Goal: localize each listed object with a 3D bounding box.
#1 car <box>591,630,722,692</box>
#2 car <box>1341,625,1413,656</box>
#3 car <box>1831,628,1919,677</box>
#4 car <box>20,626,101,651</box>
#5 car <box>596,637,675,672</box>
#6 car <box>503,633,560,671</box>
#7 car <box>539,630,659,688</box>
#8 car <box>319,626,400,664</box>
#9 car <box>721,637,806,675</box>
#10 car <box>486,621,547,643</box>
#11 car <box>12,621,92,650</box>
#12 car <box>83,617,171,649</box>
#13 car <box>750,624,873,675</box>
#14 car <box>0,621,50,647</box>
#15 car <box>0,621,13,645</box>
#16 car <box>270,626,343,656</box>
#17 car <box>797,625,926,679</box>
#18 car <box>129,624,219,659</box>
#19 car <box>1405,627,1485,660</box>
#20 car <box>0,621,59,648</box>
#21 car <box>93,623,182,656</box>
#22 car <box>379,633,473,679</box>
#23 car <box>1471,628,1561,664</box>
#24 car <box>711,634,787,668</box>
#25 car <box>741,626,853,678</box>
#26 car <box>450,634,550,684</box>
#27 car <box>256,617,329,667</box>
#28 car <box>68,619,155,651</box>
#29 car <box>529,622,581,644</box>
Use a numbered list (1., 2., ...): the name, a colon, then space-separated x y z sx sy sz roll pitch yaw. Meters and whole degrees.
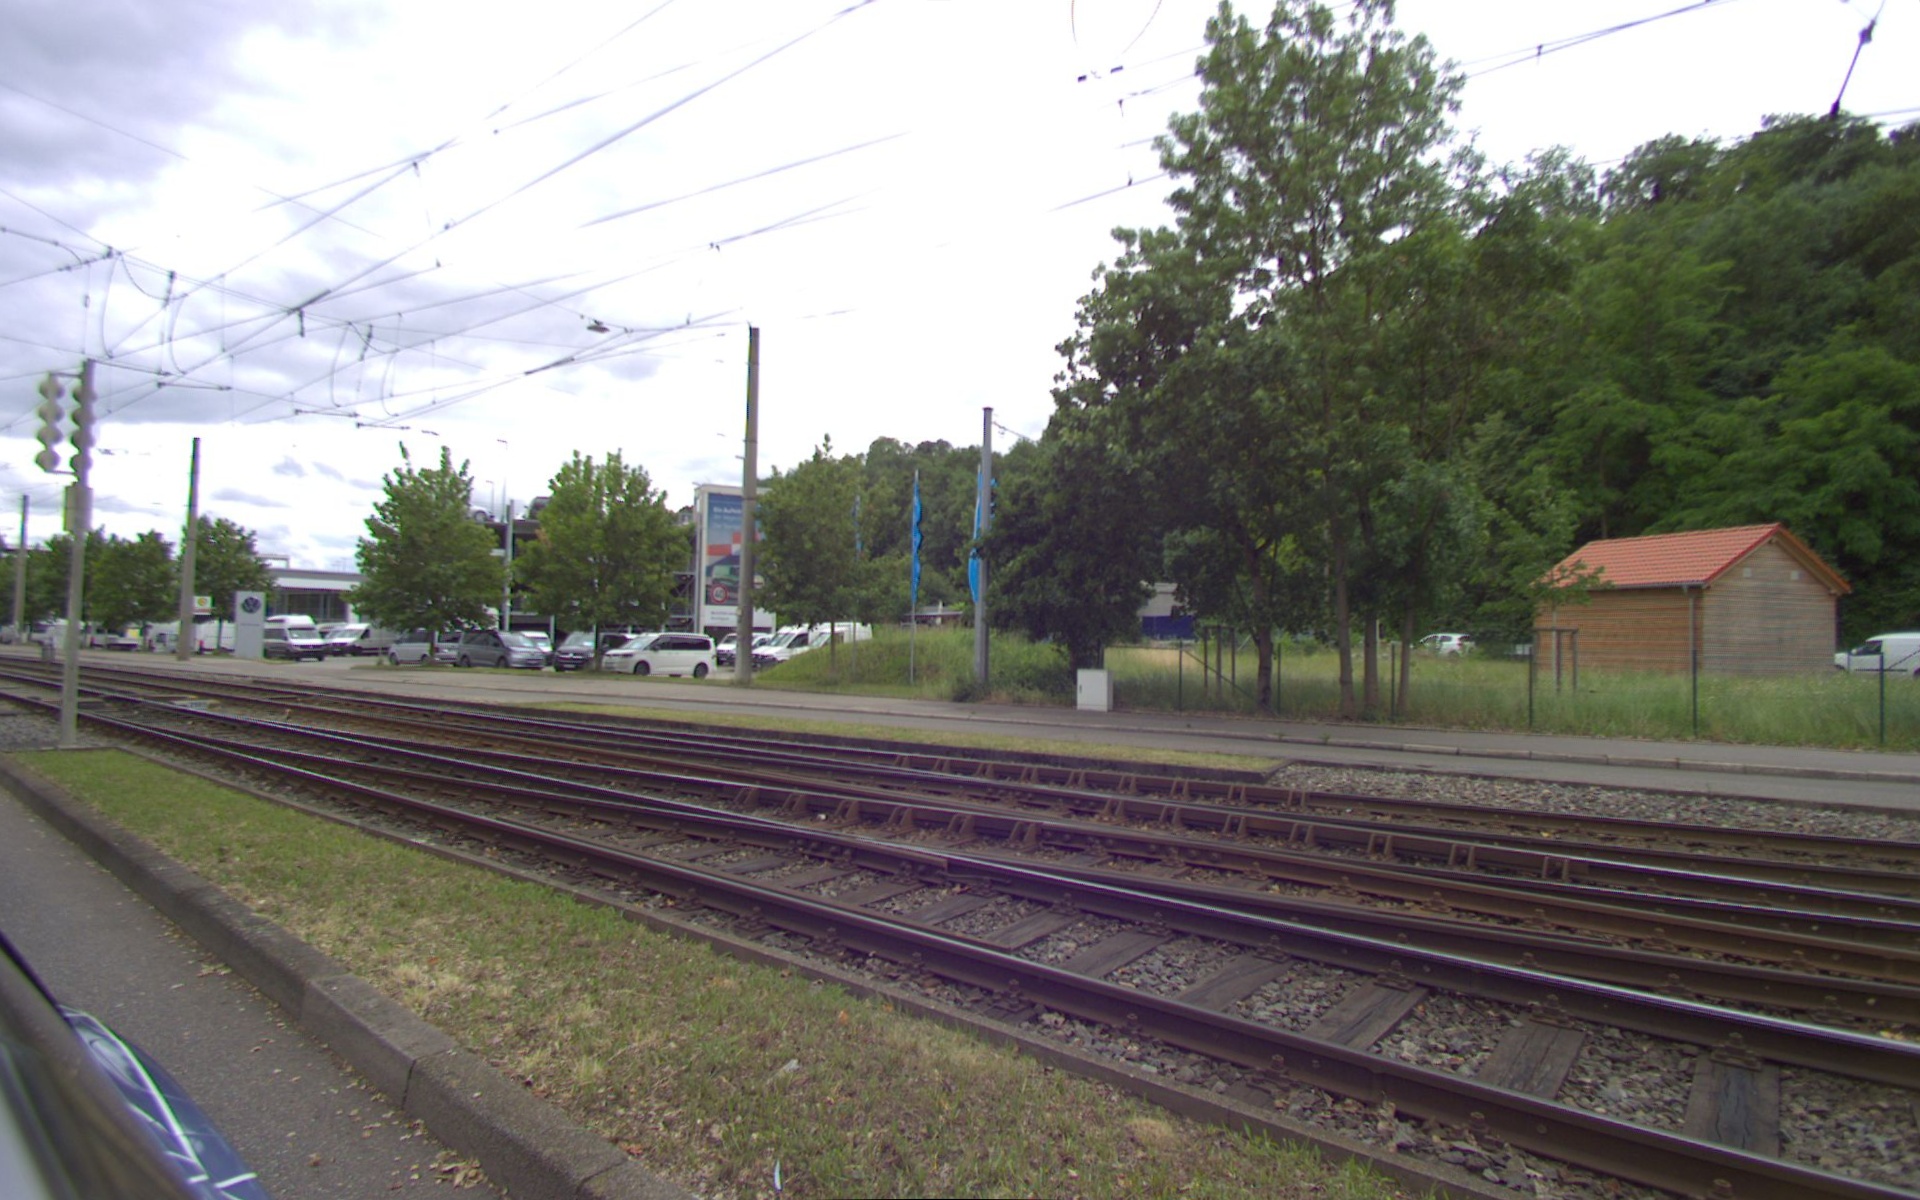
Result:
1. car: -12.839 2.530 43.103 1.997 2.284 5.206 -1 0 37
2. car: 24.483 2.352 59.462 1.727 1.625 3.693 -1 0 -25
3. car: 34.192 1.871 36.534 1.877 1.625 3.693 -1 0 -22
4. car: -73.595 3.114 82.887 2.102 1.854 4.589 -1 0 32
5. car: -19.417 3.215 60.622 4.165 1.850 1.986 -1 0 -31
6. car: -24.506 2.936 57.818 1.872 1.907 4.606 -1 0 -38
7. car: -15.984 2.564 45.052 1.977 2.284 4.717 -1 0 37
8. car: -46.466 3.442 78.527 2.293 2.642 6.036 -1 0 6
9. car: -10.908 3.069 56.261 4.165 1.850 1.986 -1 0 -31
10. car: -41.802 2.983 95.387 5.138 1.850 1.986 -1 0 -29
11. car: -75.572 2.954 84.282 2.102 2.225 4.589 -1 0 32
12. car: -61.474 2.399 74.747 2.102 2.225 4.589 -1 0 32
13. car: -7.445 2.457 51.010 5.751 2.284 2.060 -1 0 -28
14. car: -85.614 3.085 91.524 2.102 2.225 4.589 -1 0 32
15. car: -94.069 3.195 96.864 2.102 2.225 4.589 -1 0 32
16. car: -53.652 3.327 83.130 2.107 2.225 4.579 -1 0 39
17. car: -4.689 2.421 48.370 5.762 2.284 2.060 -1 0 -28
18. car: -54.934 2.834 70.824 2.102 2.225 4.589 -1 0 32
19. car: 26.494 2.326 55.391 1.727 1.625 3.693 -1 0 -25
20. car: -83.591 3.058 90.149 2.102 2.225 4.589 -1 0 32
21. car: -59.492 2.825 73.298 2.102 2.225 4.589 -1 0 32
22. car: -27.040 2.789 51.210 4.761 2.132 2.119 -1 0 32
23. car: 28.190 2.305 51.436 1.727 1.625 3.693 -1 0 -22
24. car: -12.971 3.122 62.223 4.165 1.850 1.986 -1 0 -31
25. car: -8.688 2.725 54.266 5.568 2.479 1.986 -1 0 -31
26. car: -21.761 2.720 47.821 4.763 2.132 2.118 -1 0 34
27. car: -43.171 2.667 65.419 6.154 3.034 2.291 -1 0 40
28. car: -63.851 2.628 76.231 2.102 2.225 4.589 -1 0 32
29. car: -36.934 2.969 92.337 4.164 1.850 1.986 -1 0 -29
